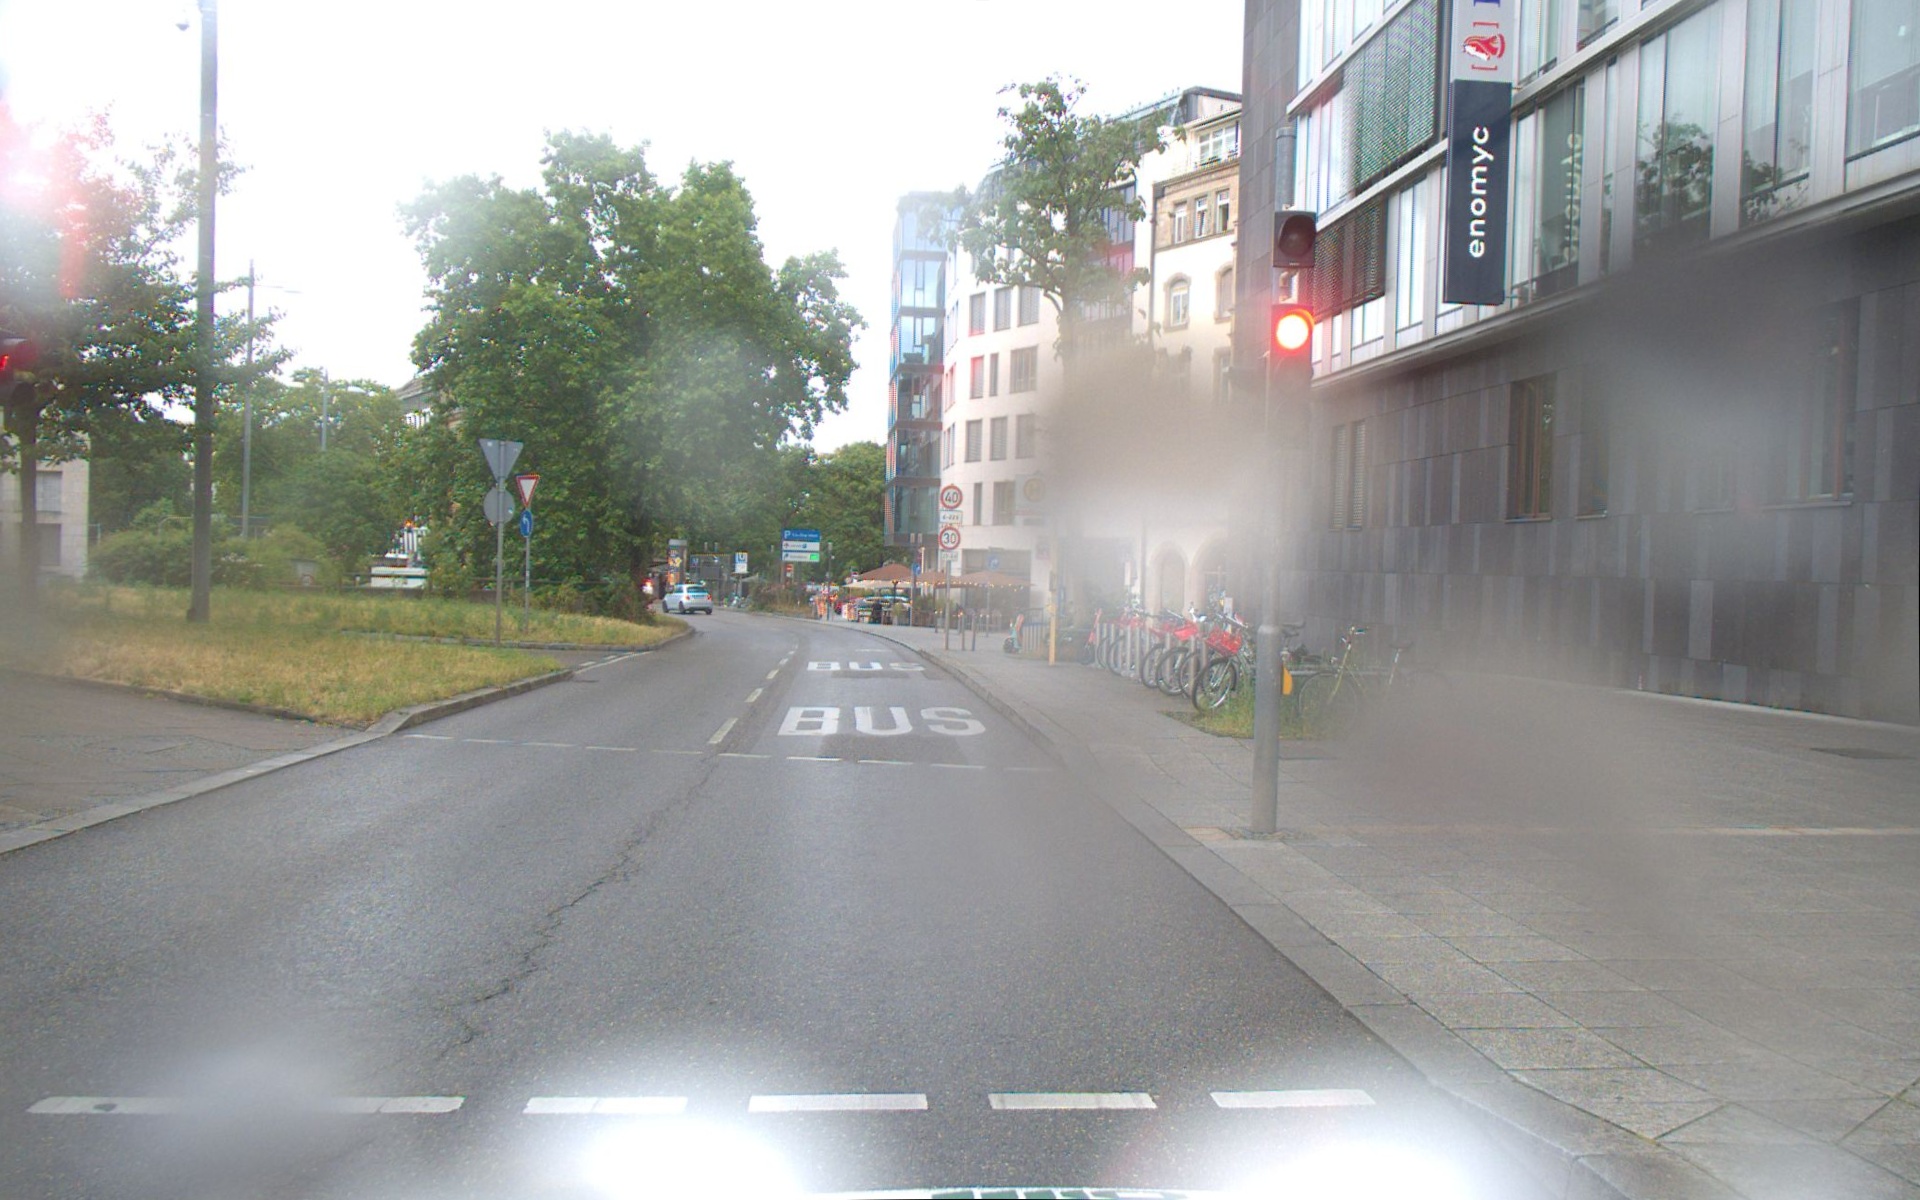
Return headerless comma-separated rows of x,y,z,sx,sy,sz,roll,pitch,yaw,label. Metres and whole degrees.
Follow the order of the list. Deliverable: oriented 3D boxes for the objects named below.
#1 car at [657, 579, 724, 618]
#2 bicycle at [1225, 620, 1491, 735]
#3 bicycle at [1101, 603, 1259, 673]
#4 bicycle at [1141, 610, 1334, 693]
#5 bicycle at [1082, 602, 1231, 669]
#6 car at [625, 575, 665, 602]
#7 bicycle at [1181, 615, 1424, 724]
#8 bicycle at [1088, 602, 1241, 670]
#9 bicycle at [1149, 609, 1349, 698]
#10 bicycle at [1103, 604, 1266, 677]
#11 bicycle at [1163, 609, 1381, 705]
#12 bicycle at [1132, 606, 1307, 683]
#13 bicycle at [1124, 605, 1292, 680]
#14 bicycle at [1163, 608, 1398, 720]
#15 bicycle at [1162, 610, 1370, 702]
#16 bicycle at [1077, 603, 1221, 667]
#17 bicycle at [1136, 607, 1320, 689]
-14.167,-0.092,86.802,1.975,1.675,3.957,6,0,-33,car
3.956,0.767,16.513,2.487,1.075,0.677,1,0,-6,bicycle
3.609,0.625,27.221,2.486,1.106,0.677,1,0,-6,bicycle
3.771,0.694,22.548,2.486,1.078,0.677,1,0,-6,bicycle
3.416,0.617,28.854,2.486,1.106,0.677,1,0,-6,bicycle
-21.437,-0.819,112.387,2.146,1.730,3.979,2,0,-19,car
3.711,0.747,17.986,2.487,1.106,0.677,1,0,-6,bicycle
3.474,0.608,28.108,2.486,1.106,0.677,1,0,-6,bicycle
3.778,0.695,21.681,2.486,1.106,0.677,1,0,-6,bicycle
3.585,0.643,26.468,2.486,1.106,0.677,1,0,-6,bicycle
3.762,0.684,20.016,2.486,1.106,0.677,1,0,-6,bicycle
3.859,0.658,24.655,2.486,1.106,0.677,1,0,-6,bicycle
3.833,0.652,25.633,2.486,1.106,0.677,1,0,-6,bicycle
3.624,0.724,18.788,2.487,1.106,0.677,3,0,-6,bicycle
3.846,0.703,20.872,2.486,1.106,0.677,1,0,-6,bicycle
3.370,0.623,29.575,2.486,1.106,0.627,1,0,-6,bicycle
3.786,0.675,23.457,2.486,1.106,0.677,1,0,-6,bicycle
